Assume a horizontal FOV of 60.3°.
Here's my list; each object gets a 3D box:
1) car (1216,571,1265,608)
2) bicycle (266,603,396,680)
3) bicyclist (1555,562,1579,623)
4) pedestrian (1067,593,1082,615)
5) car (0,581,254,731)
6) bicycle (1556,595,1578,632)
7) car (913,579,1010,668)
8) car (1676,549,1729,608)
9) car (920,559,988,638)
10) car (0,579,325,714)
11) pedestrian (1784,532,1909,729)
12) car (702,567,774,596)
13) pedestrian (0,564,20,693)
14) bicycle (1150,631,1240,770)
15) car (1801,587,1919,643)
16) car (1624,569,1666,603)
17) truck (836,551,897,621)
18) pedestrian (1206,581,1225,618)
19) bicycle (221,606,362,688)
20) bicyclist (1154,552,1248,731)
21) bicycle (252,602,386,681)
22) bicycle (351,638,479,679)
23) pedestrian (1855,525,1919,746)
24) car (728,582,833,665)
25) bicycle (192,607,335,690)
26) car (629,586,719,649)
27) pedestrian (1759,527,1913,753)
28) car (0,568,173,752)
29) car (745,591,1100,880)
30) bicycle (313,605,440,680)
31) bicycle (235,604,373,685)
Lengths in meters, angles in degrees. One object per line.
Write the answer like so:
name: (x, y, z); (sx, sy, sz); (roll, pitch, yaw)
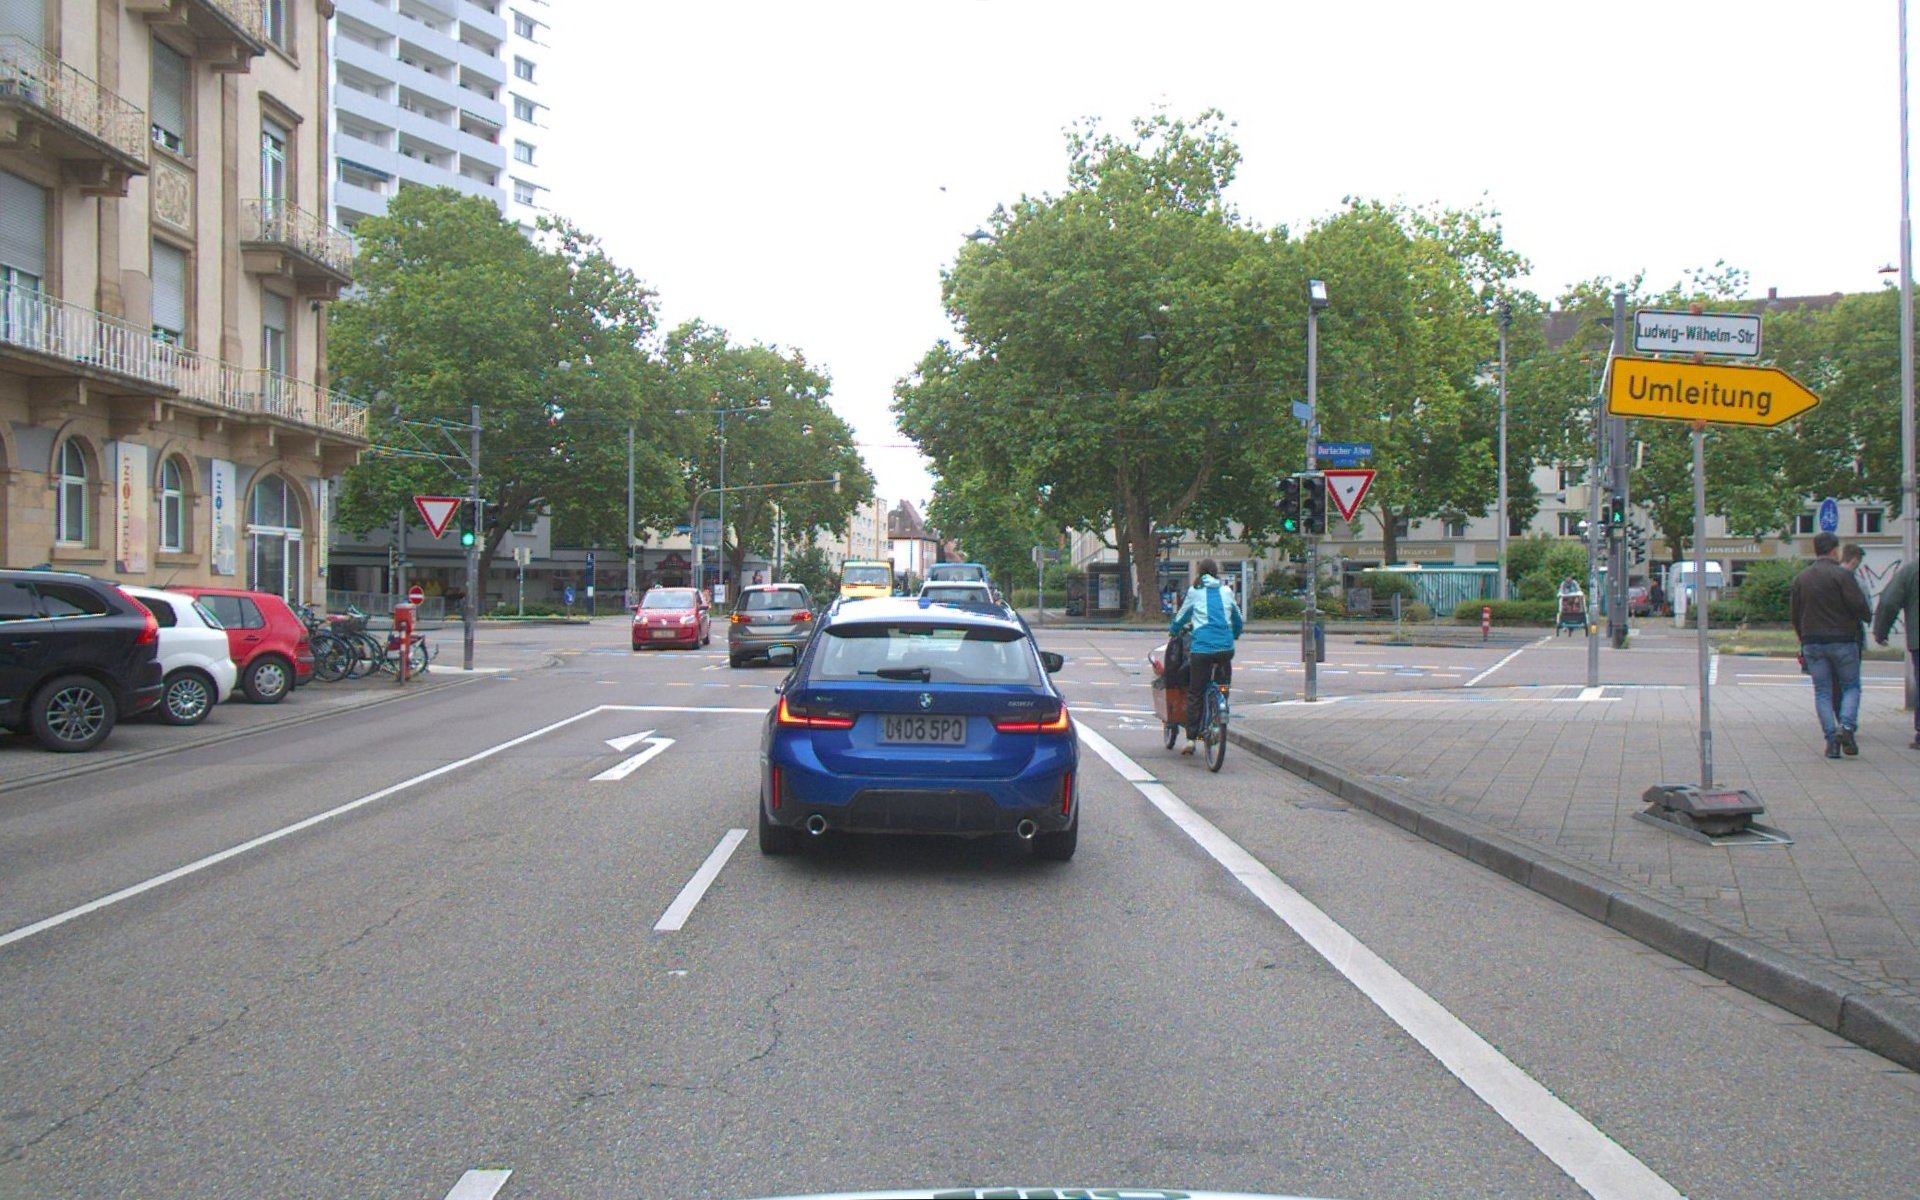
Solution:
car: (17.504, -0.654, 102.978); (2.130, 2.239, 3.999); (0, 0, 23)
bicycle: (-10.202, 0.670, 26.861); (1.849, 1.053, 0.442); (5, 0, -3)
bicyclist: (16.948, -0.213, 46.176); (0.601, 1.683, 0.754); (0, 0, 20)
pedestrian: (6.778, 0.244, 98.150); (0.835, 1.337, 0.762); (0, 0, -1)
car: (-9.961, 0.575, 17.873); (3.968, 1.498, 1.540); (2, 1, -44)
bicycle: (16.988, 0.375, 46.281); (0.540, 1.013, 2.061); (0, 0, 21)
car: (0.001, 0.410, 32.191); (1.778, 1.620, 3.999); (0, 0, -1)
car: (35.148, -1.000, 78.199); (2.191, 2.685, 5.443); (0, 0, 25)
car: (-0.182, -0.062, 44.894); (1.778, 2.040, 3.999); (0, 0, -1)
car: (-10.253, 0.540, 20.734); (1.653, 1.498, 3.978); (2, 1, 40)
pedestrian: (7.983, 0.264, 14.934); (0.619, 1.702, 0.970); (-2, 0, 6)
car: (-13.530, -1.118, 100.875); (3.953, 1.736, 1.976); (1, 0, -35)
pedestrian: (-13.799, 0.401, 23.494); (0.555, 1.816, 0.551); (0, 0, 0)
bicycle: (2.113, 0.869, 15.048); (0.484, 1.117, 2.138); (0, 0, -1)
car: (27.053, 0.436, 48.747); (3.895, 1.589, 1.687); (0, 0, 22)
car: (31.724, -0.660, 76.554); (1.632, 1.542, 3.935); (0, 1, 25)
truck: (-3.389, -0.519, 60.855); (2.033, 2.450, 5.461); (-1, 1, -2)
pedestrian: (12.246, -0.042, 79.260); (0.768, 1.774, 0.925); (0, 0, -2)
bicycle: (-10.110, 0.703, 25.029); (1.849, 1.053, 0.442); (5, 0, -3)
bicyclist: (2.148, 0.354, 14.835); (0.672, 1.544, 1.058); (0, 0, -1)
bicycle: (-10.158, 0.656, 26.226); (1.849, 1.053, 0.442); (5, 0, -3)
bicycle: (-9.350, 0.998, 28.461); (1.849, 0.453, 1.028); (6, 2, -3)
pedestrian: (8.169, 0.271, 13.830); (0.788, 1.789, 0.969); (-2, 0, -1)
car: (-3.520, 0.423, 33.016); (1.697, 1.551, 3.999); (0, 0, -1)
bicycle: (-10.187, 0.707, 24.212); (1.847, 1.053, 0.442); (5, 0, 2)
car: (-6.975, 0.404, 40.611); (1.615, 1.472, 3.510); (0, 0, -1)
pedestrian: (7.006, 0.305, 13.266); (0.660, 1.715, 0.969); (-2, 0, -1)
car: (-9.760, 0.537, 15.275); (4.192, 1.680, 1.704); (1, 0, -44)
car: (-0.213, 0.668, 10.472); (1.778, 1.430, 4.319); (0, 0, -1)
bicycle: (-9.657, 0.703, 27.416); (1.849, 1.053, 0.442); (5, 0, -3)
bicycle: (-10.131, 0.682, 25.565); (1.849, 1.053, 0.442); (5, 0, -3)
